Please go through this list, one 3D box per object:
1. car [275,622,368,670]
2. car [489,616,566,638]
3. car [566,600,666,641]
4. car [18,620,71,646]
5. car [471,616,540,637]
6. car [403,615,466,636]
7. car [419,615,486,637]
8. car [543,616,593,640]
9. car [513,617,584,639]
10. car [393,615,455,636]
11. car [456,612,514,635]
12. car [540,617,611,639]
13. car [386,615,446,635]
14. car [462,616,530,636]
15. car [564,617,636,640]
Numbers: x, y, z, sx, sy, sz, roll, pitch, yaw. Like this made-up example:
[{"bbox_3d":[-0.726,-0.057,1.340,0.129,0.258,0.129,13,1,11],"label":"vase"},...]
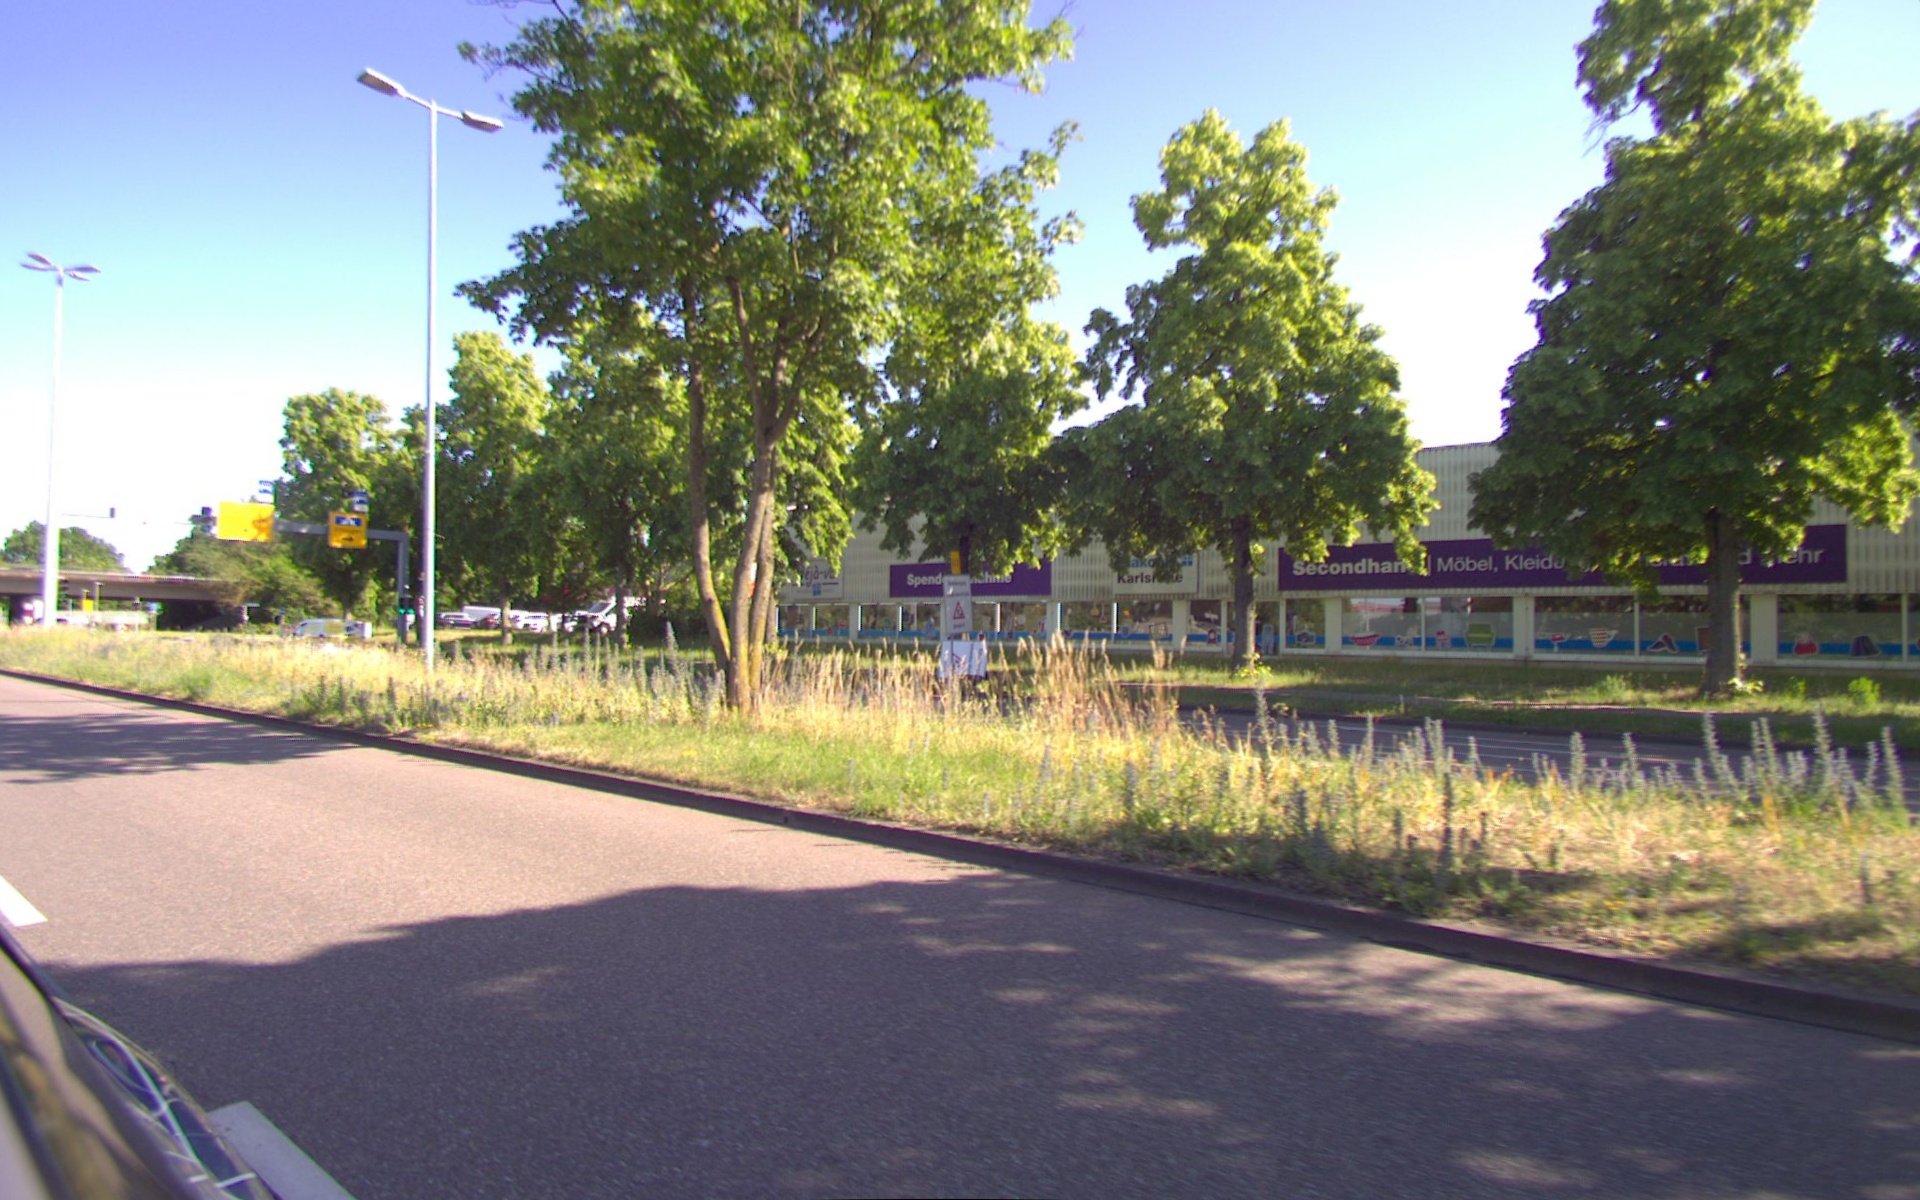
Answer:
[{"bbox_3d":[-24.657,1.728,39.065,4.159,1.760,1.690,-1,-2,38],"label":"car"},{"bbox_3d":[-30.141,1.901,70.679,1.944,1.399,4.574,-1,-3,39],"label":"car"},{"bbox_3d":[-21.751,1.341,64.323,2.202,2.452,5.826,-1,-3,35],"label":"car"},{"bbox_3d":[-63.603,2.290,70.269,4.624,1.710,1.923,-1,-4,39],"label":"car"},{"bbox_3d":[-32.194,1.908,71.766,1.942,1.399,4.082,-1,-3,35],"label":"car"},{"bbox_3d":[-41.787,2.042,80.561,1.819,1.563,4.072,-2,-3,43],"label":"car"},{"bbox_3d":[-38.289,2.010,76.447,1.946,1.563,4.075,-1,-3,41],"label":"car"},{"bbox_3d":[-32.842,2.360,84.650,5.128,1.971,1.760,-1,-3,42],"label":"car"},{"bbox_3d":[-27.983,1.906,68.923,1.942,1.399,4.082,-1,-3,35],"label":"car"},{"bbox_3d":[-43.520,2.081,82.196,4.067,1.563,1.898,3,-3,-41],"label":"car"},{"bbox_3d":[-47.106,2.318,100.397,4.986,2.168,1.891,0,-2,7],"label":"car"},{"bbox_3d":[-25.688,1.905,67.717,1.942,1.399,4.082,-1,-3,35],"label":"car"},{"bbox_3d":[-45.132,2.099,84.041,4.065,1.563,1.899,3,-3,-39],"label":"car"},{"bbox_3d":[-33.691,1.921,73.575,1.943,1.399,4.079,-1,-3,37],"label":"car"},{"bbox_3d":[-23.513,1.901,66.265,1.942,1.399,4.082,-1,-3,35],"label":"car"}]
